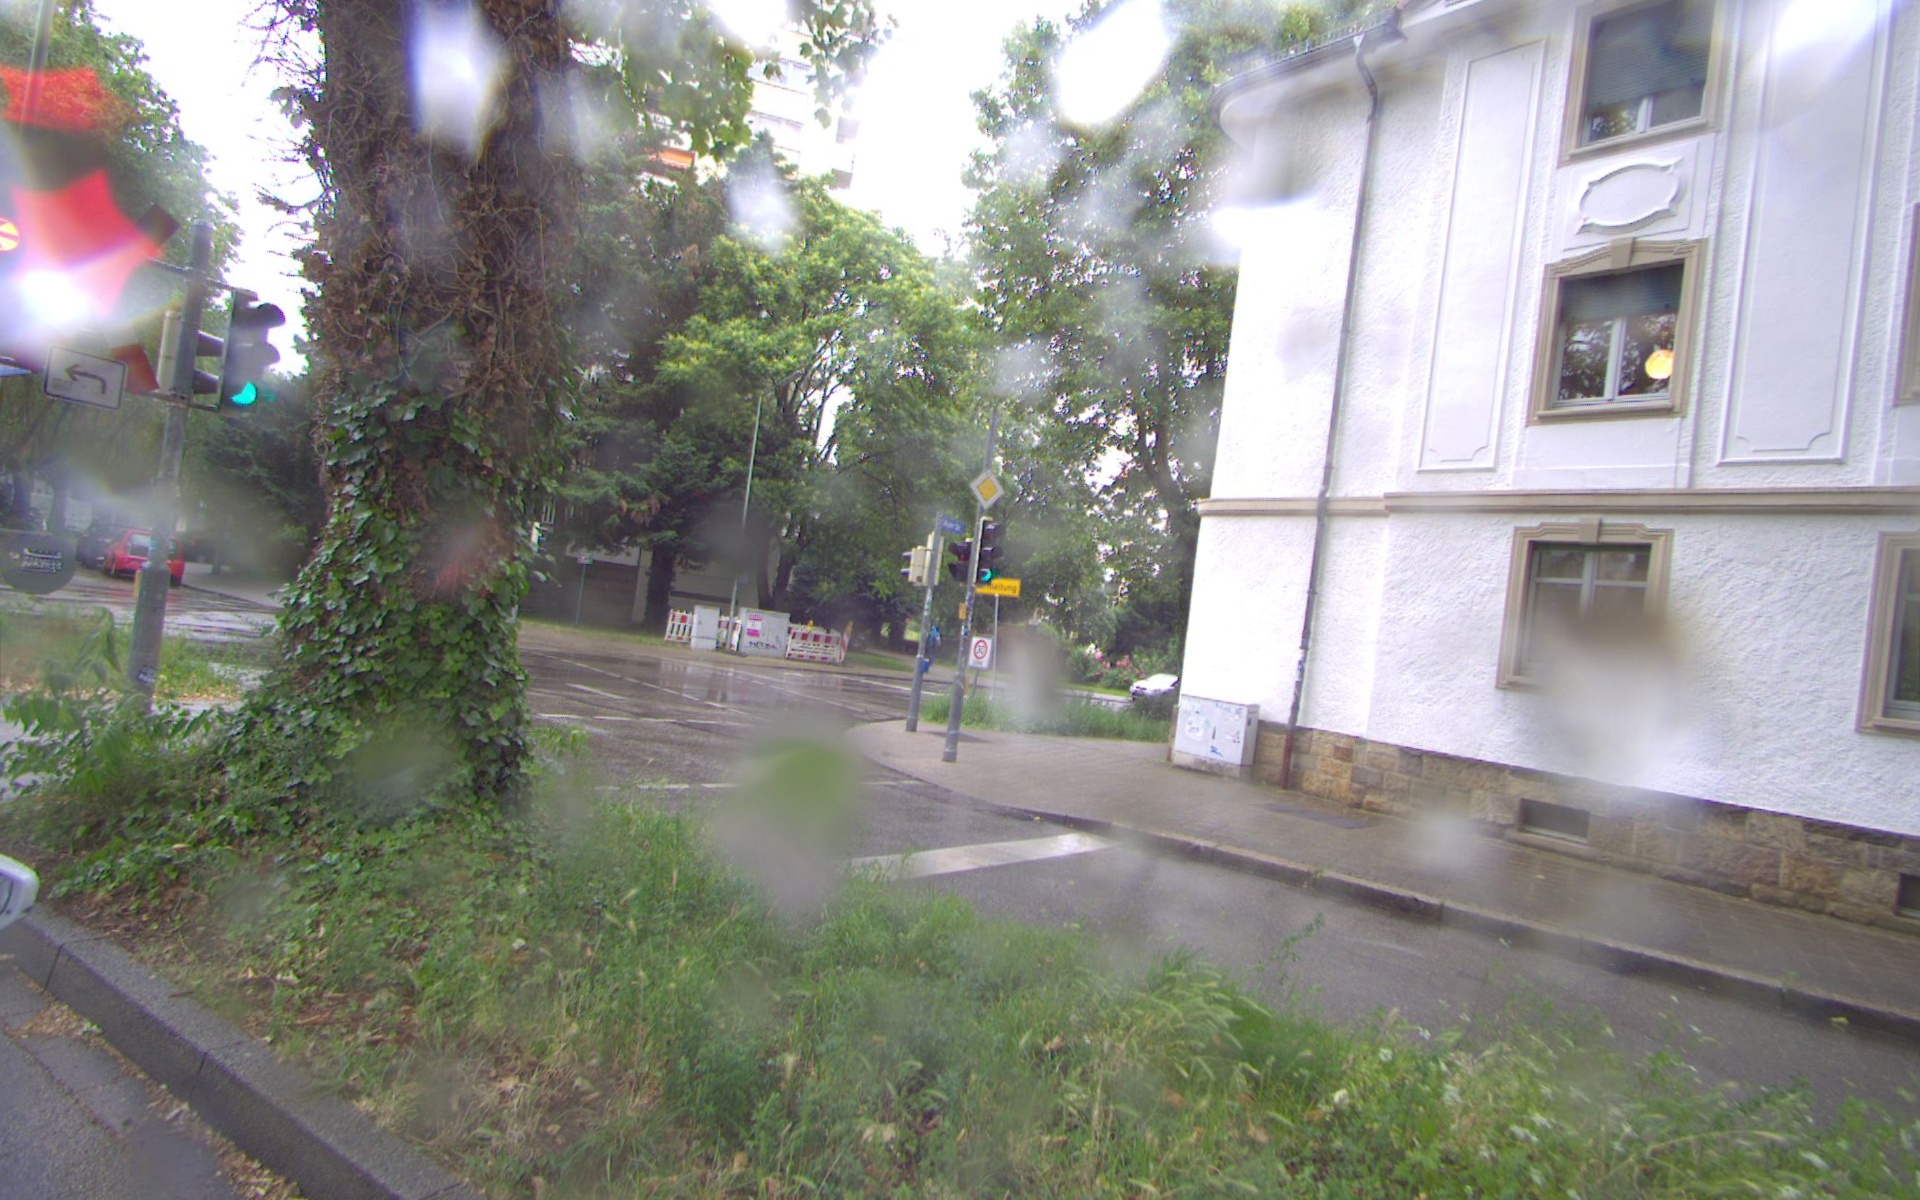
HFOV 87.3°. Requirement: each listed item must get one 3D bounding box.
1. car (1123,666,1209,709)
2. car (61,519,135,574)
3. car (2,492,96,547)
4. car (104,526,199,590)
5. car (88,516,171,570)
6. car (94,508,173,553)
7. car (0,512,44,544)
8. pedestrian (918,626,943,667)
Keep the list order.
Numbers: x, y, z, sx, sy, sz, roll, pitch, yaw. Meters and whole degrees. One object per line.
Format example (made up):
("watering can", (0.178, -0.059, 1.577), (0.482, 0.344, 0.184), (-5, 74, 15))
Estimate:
("car", (9.405, 3.997, 45.817), (1.829, 1.473, 3.979), (6, -3, 45))
("car", (-32.990, -2.080, 38.466), (1.779, 1.747, 3.951), (9, -2, -44))
("car", (-61.118, -5.393, 67.544), (4.680, 2.982, 2.043), (7, -1, 12))
("car", (-24.838, -1.310, 30.855), (1.788, 1.515, 3.950), (10, -2, -44))
("car", (-28.105, -1.939, 34.012), (1.780, 1.363, 3.879), (10, -2, -44))
("car", (-69.655, -5.843, 84.825), (4.683, 2.982, 2.001), (7, -1, 1))
("car", (-56.211, -4.378, 58.640), (1.974, 1.565, 3.980), (6, -3, 44))
("pedestrian", (-1.420, 2.216, 48.263), (0.675, 1.863, 0.707), (8, -1, -44))
